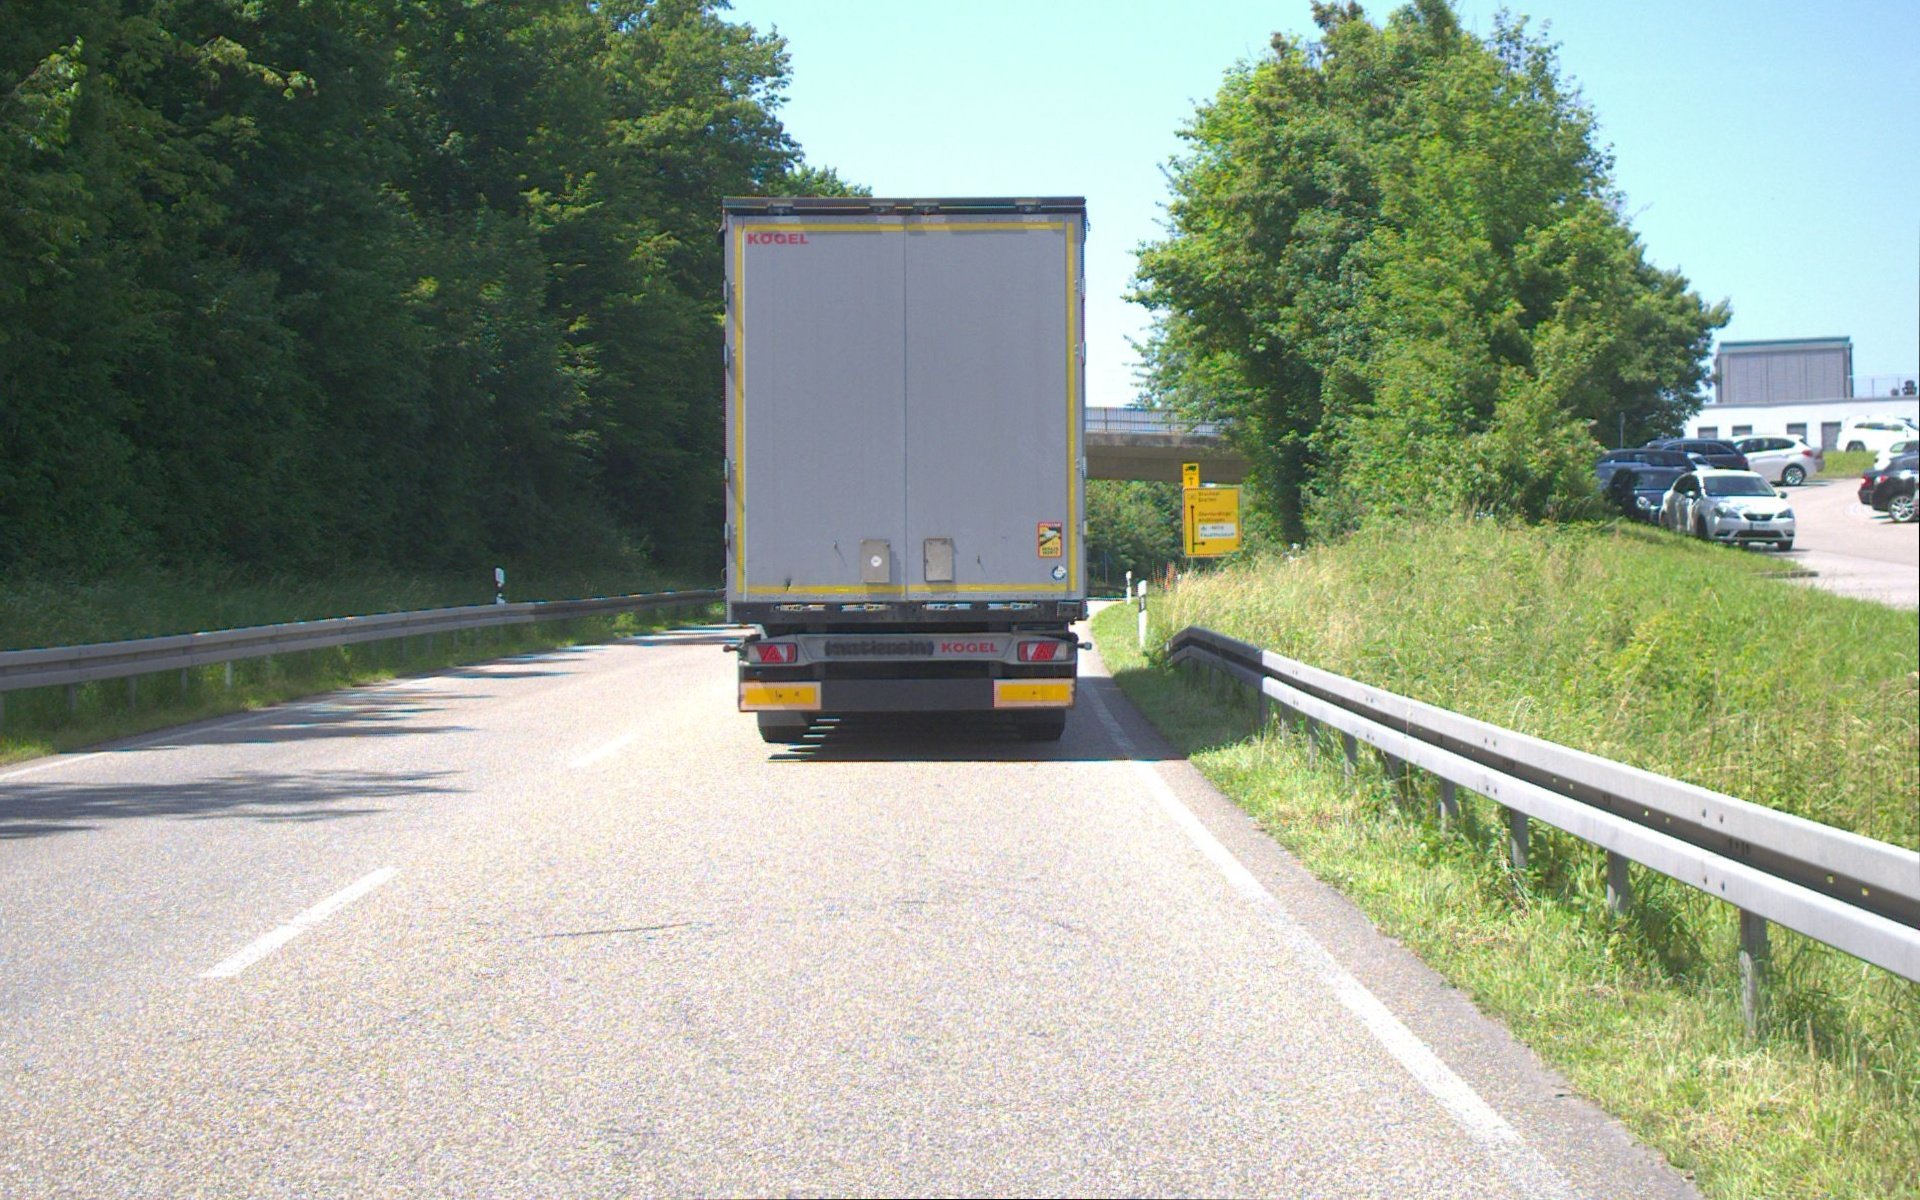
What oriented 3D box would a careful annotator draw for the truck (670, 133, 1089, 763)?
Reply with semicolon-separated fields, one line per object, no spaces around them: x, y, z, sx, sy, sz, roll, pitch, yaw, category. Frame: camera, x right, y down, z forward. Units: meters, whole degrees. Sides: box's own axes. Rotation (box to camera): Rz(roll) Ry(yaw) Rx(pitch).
-0.603;-1.146;28.730;2.866;4.344;9.789;-1;1;-1;truck

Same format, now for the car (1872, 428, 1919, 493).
25.966;-3.561;88.199;4.580;1.623;1.817;2;1;33;car

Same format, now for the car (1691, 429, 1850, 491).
23.768;-4.117;100.818;4.362;1.679;1.889;-2;6;-29;car

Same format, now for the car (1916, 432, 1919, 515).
21.291;-2.413;67.710;4.576;1.623;1.819;3;3;20;car

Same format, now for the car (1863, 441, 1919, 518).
21.894;-2.558;74.038;4.576;1.623;1.819;2;1;20;car

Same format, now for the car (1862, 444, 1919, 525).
21.067;-2.367;70.982;4.576;1.623;1.819;1;0;20;car

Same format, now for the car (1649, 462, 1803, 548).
14.028;-1.771;63.139;1.624;1.349;3.712;4;3;-5;car
